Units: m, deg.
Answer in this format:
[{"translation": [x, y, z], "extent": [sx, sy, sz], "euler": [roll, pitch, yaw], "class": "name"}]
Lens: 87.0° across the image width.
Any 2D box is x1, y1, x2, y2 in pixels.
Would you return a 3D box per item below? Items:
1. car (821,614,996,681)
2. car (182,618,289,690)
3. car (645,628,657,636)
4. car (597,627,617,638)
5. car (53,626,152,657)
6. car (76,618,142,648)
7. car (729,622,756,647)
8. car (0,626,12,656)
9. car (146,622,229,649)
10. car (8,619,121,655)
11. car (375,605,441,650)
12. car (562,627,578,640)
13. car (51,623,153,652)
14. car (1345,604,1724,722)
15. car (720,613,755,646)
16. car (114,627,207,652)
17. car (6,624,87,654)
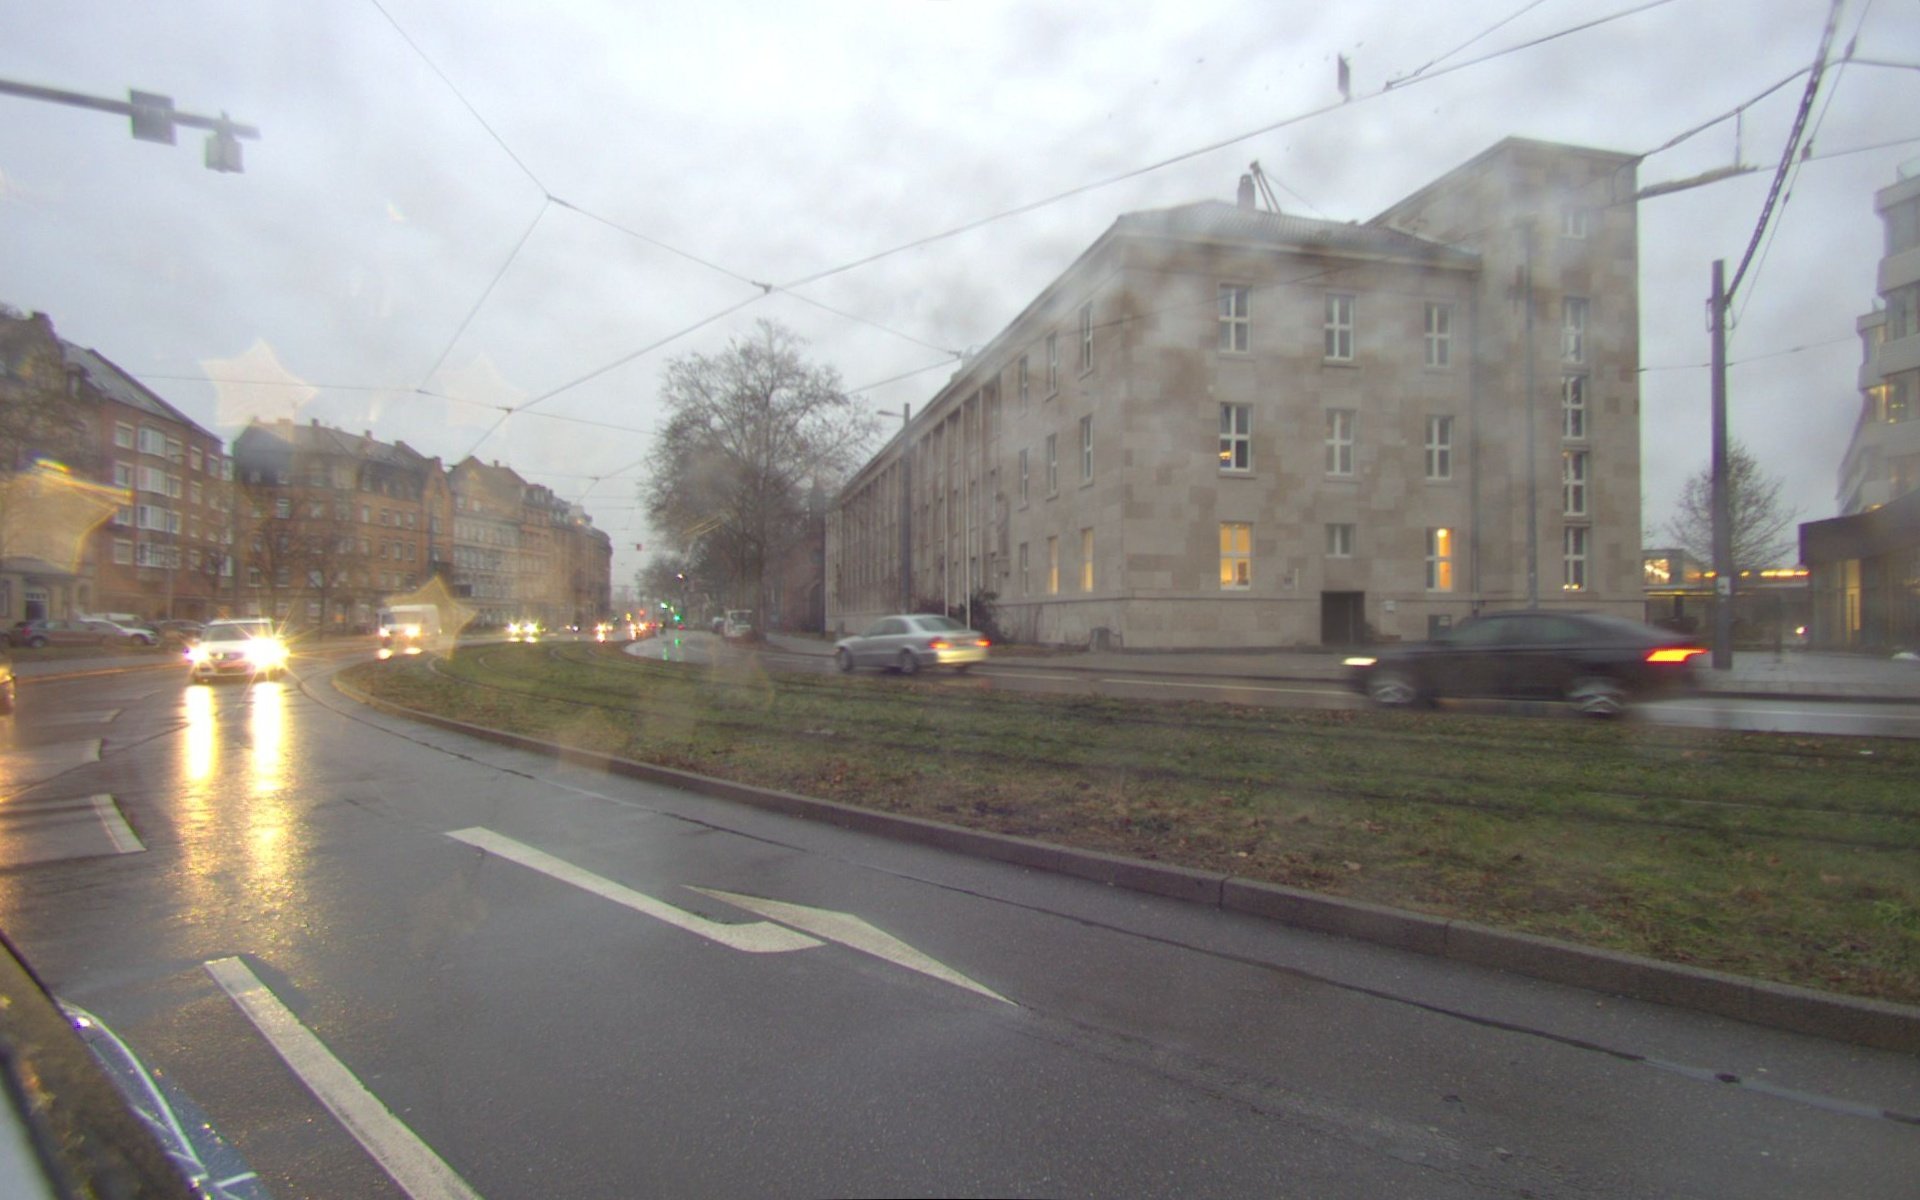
[{"translation": [-1.389, 1.147, 25.211], "extent": [1.799, 1.446, 4.661], "euler": [-2, 0, -42], "class": "car"}, {"translation": [-18.990, 1.341, 26.694], "extent": [1.647, 1.672, 4.161], "euler": [-2, 0, -27], "class": "car"}, {"translation": [-73.196, 7.513, 239.803], "extent": [1.923, 1.829, 4.006], "euler": [0, -1, -7], "class": "car"}, {"translation": [-47.763, 4.392, 136.840], "extent": [1.867, 1.424, 3.954], "euler": [0, -2, -9], "class": "car"}, {"translation": [-42.823, 2.046, 50.645], "extent": [3.706, 1.341, 1.605], "euler": [-1, 0, -39], "class": "car"}, {"translation": [-53.444, 2.054, 63.642], "extent": [1.648, 1.716, 3.473], "euler": [-2, 0, -10], "class": "car"}, {"translation": [-13.350, 2.081, 61.941], "extent": [1.535, 1.439, 2.963], "euler": [0, 0, -14], "class": "car"}, {"translation": [-50.689, 2.109, 51.720], "extent": [1.449, 1.555, 3.881], "euler": [0, -2, -12], "class": "car"}, {"translation": [-44.056, 2.008, 57.729], "extent": [3.706, 1.364, 1.605], "euler": [-1, 0, -39], "class": "car"}, {"translation": [-41.098, 1.674, 46.509], "extent": [3.816, 1.416, 1.696], "euler": [-2, 0, -44], "class": "car"}, {"translation": [-32.022, 1.555, 58.924], "extent": [2.095, 2.398, 5.654], "euler": [-2, 0, -15], "class": "car"}, {"translation": [-50.219, 4.290, 130.287], "extent": [1.694, 1.630, 3.950], "euler": [0, -2, -17], "class": "car"}, {"translation": [-41.823, 1.824, 49.428], "extent": [3.706, 1.342, 1.605], "euler": [1, -2, -39], "class": "car"}, {"translation": [8.186, 0.847, 14.729], "extent": [4.522, 1.411, 1.639], "euler": [-2, 0, 43], "class": "car"}, {"translation": [-14.623, 1.885, 66.312], "extent": [1.966, 2.029, 4.522], "euler": [-2, 0, -15], "class": "car"}, {"translation": [-42.483, 2.098, 53.829], "extent": [3.711, 1.288, 1.602], "euler": [1, -2, -45], "class": "car"}, {"translation": [-52.185, 2.218, 57.927], "extent": [1.666, 1.554, 4.010], "euler": [-2, 0, -12], "class": "car"}]
